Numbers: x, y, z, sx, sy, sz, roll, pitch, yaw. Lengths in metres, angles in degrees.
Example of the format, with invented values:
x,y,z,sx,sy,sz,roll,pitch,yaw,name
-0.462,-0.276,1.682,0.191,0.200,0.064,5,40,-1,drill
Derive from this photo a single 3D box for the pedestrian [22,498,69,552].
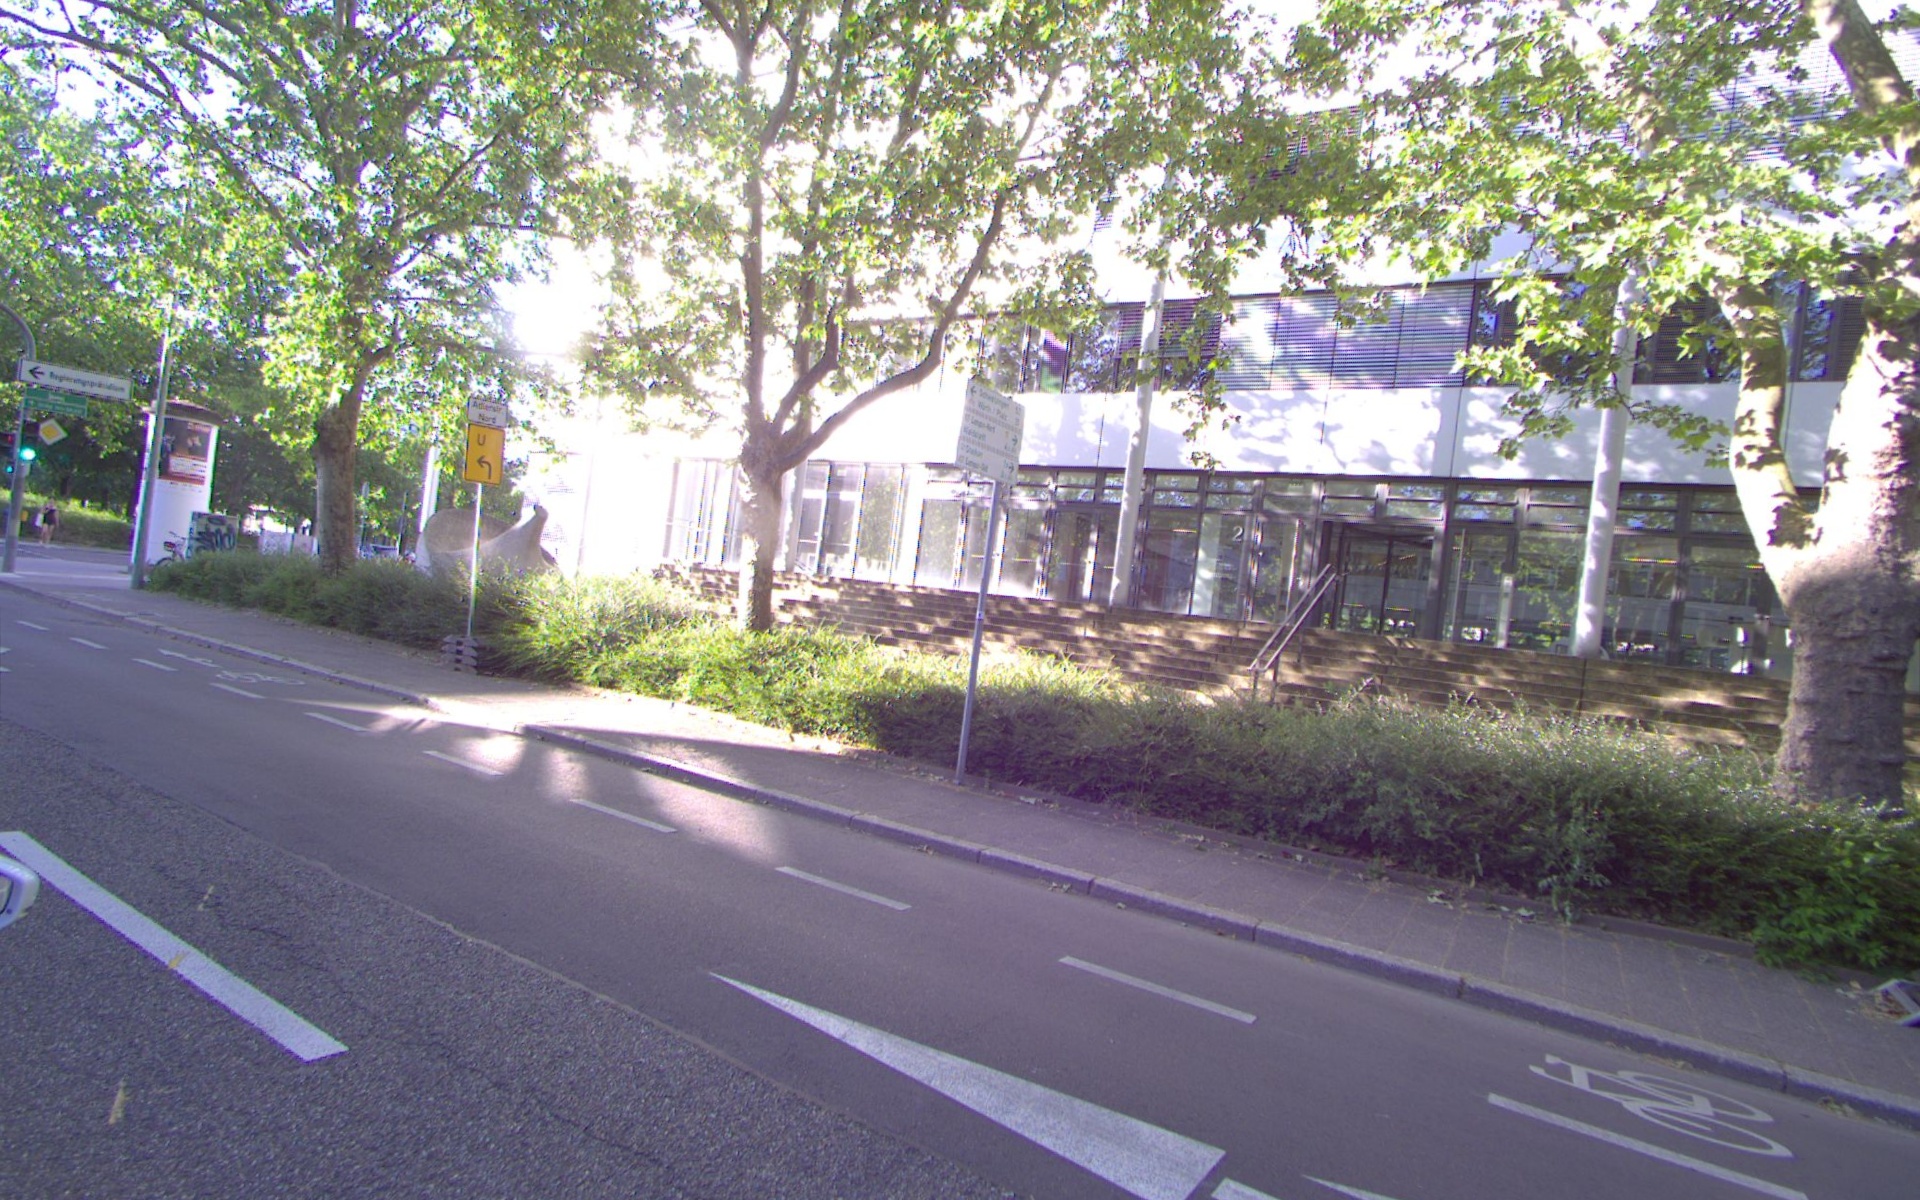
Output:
x,y,z,sx,sy,sz,roll,pitch,yaw,name
-29.080,-2.370,31.995,0.893,1.563,0.638,7,-1,23,pedestrian

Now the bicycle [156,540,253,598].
x,y,z,sx,sy,sz,roll,pitch,yaw,name
-15.914,-0.634,21.251,0.631,1.040,1.887,7,-2,-5,bicycle
